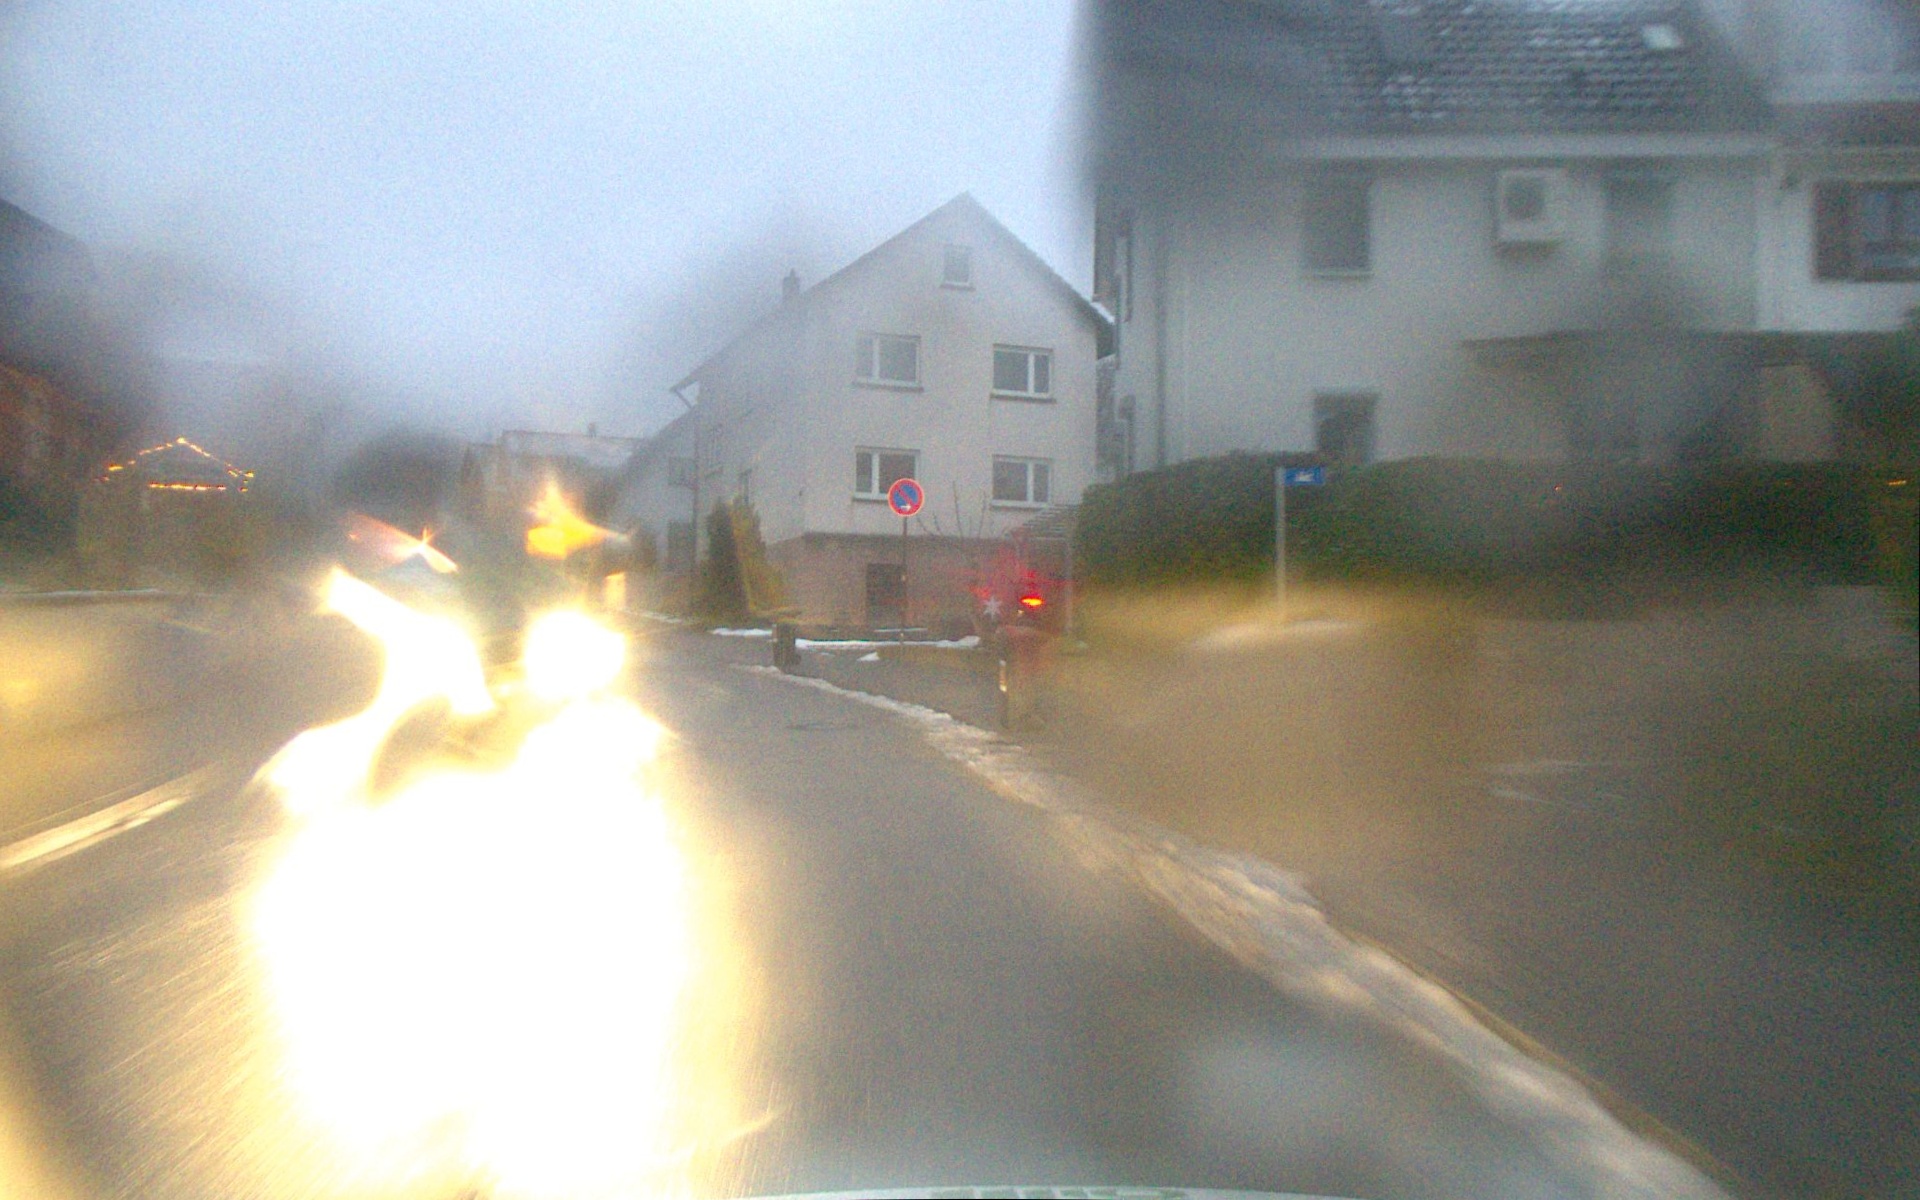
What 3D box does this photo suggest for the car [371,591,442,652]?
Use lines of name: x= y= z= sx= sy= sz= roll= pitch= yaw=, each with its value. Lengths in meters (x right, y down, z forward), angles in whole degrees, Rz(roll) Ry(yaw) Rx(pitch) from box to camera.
car: x=-14.012 y=0.507 z=41.779 sx=1.595 sy=1.463 sz=3.635 roll=0 pitch=1 yaw=-20

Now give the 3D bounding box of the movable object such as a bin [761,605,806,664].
movable object such as a bin: x=-2.930 y=0.565 z=27.360 sx=0.626 sy=0.933 sz=0.683 roll=1 pitch=0 yaw=-15

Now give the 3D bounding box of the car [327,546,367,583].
car: x=-27.509 y=-1.566 z=74.274 sx=1.659 sy=1.612 sz=4.151 roll=0 pitch=1 yaw=-20

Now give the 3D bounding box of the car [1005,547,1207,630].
car: x=3.162 y=-0.251 z=36.014 sx=3.921 sy=1.646 sz=1.992 roll=2 pitch=1 yaw=-16

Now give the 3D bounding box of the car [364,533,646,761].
car: x=-4.607 y=0.406 z=17.560 sx=2.069 sy=2.062 sz=4.976 roll=0 pitch=0 yaw=-6

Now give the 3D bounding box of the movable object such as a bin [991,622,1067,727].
movable object such as a bin: x=0.645 y=0.694 z=15.615 sx=0.528 sy=0.954 sz=0.687 roll=1 pitch=0 yaw=-14
